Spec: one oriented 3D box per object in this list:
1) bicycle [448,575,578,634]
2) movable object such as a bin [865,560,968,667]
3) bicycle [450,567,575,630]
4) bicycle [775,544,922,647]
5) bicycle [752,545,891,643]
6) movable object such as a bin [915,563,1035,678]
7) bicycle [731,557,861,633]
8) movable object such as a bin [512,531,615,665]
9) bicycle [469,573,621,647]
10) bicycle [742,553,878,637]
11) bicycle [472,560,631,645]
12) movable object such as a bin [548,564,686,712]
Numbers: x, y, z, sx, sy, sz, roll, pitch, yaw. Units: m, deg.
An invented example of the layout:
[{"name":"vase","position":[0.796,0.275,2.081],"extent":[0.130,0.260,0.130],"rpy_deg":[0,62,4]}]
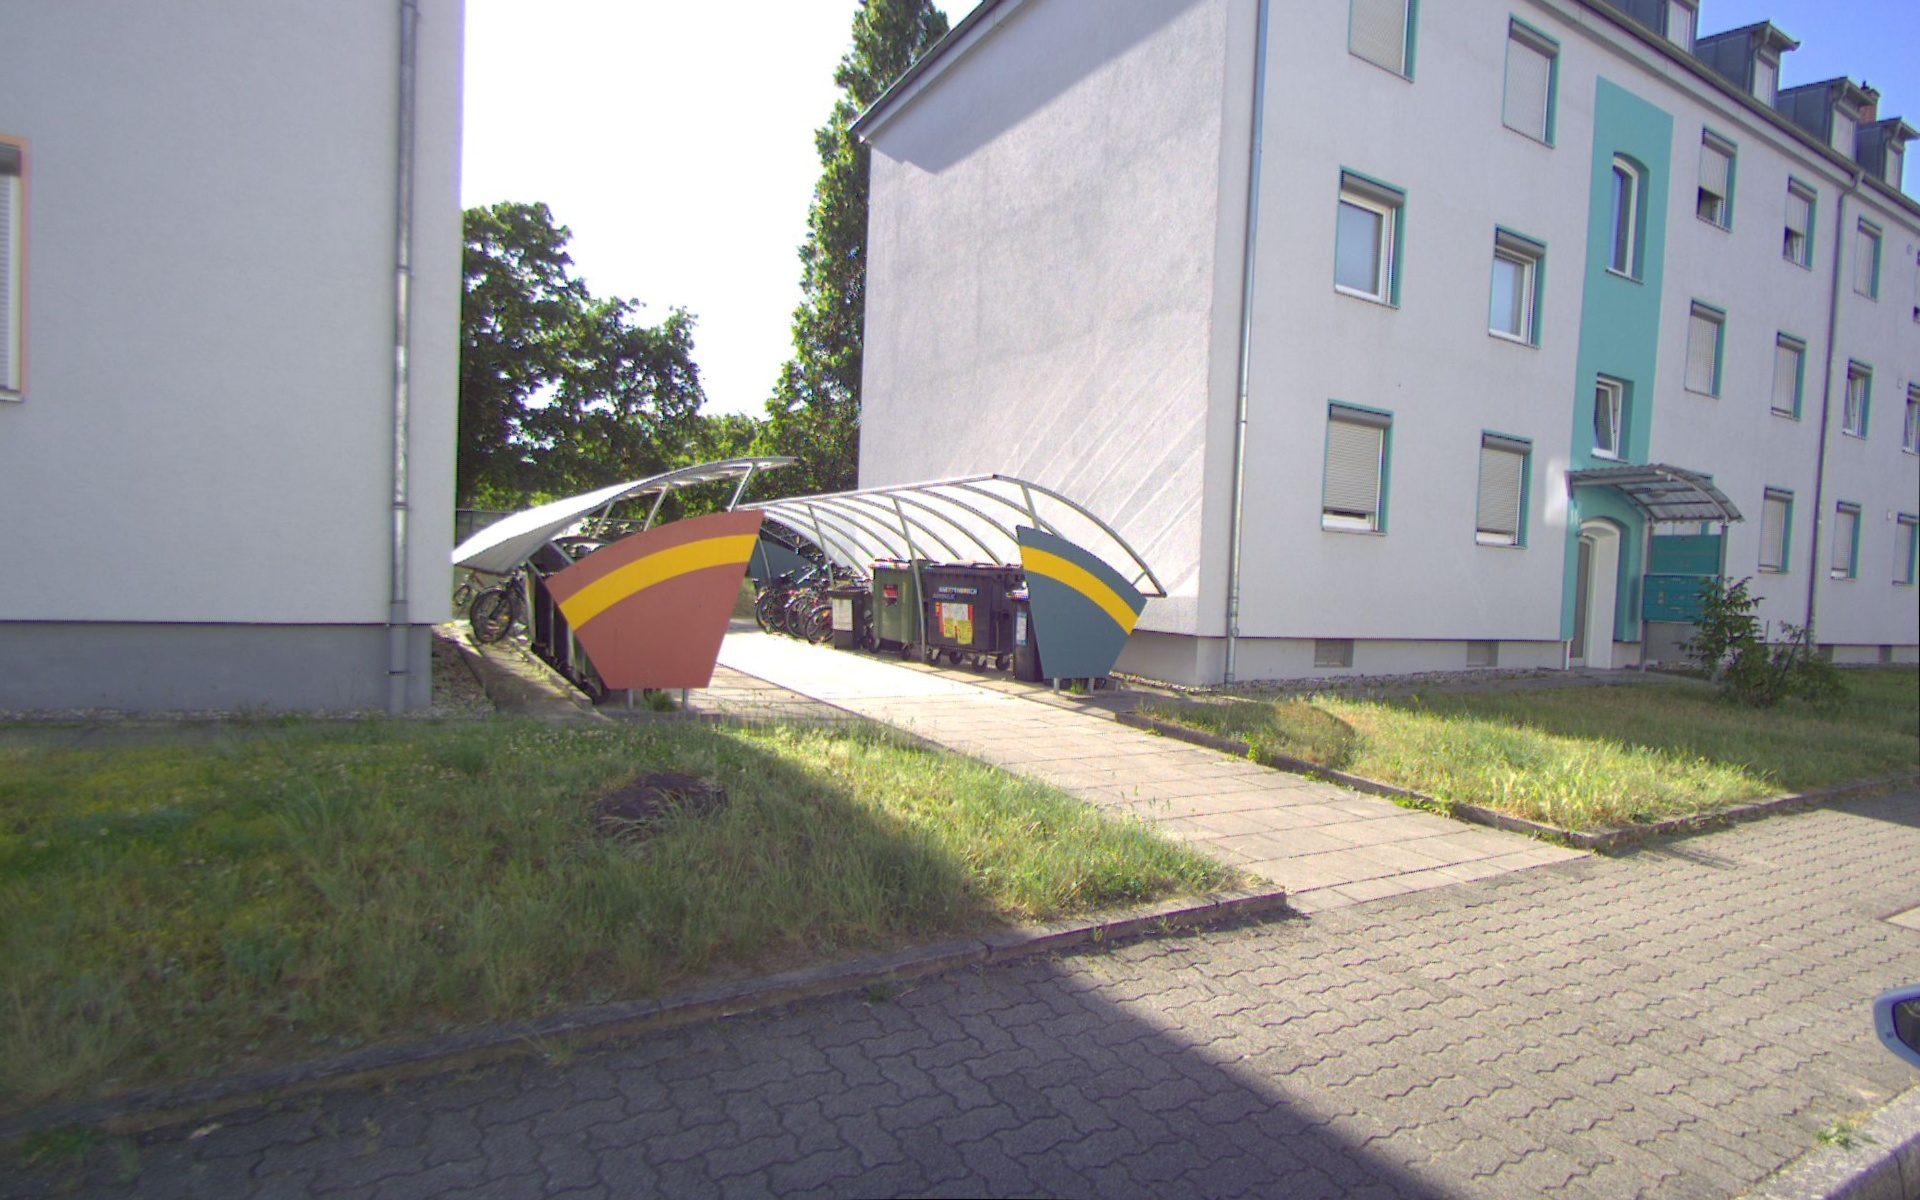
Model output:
[{"name":"bicycle","position":[-6.610,0.072,14.885],"extent":[1.712,0.808,0.505],"rpy_deg":[1,3,-30]},{"name":"movable object such as a bin","position":[-0.614,0.157,13.900],"extent":[0.797,1.366,1.243],"rpy_deg":[0,3,-40]},{"name":"bicycle","position":[-6.899,-0.018,15.524],"extent":[1.712,0.921,0.505],"rpy_deg":[1,3,-30]},{"name":"bicycle","position":[-1.743,-0.060,15.870],"extent":[2.172,1.530,0.699],"rpy_deg":[1,3,-30]},{"name":"bicycle","position":[-2.280,-0.095,16.671],"extent":[2.172,1.546,0.660],"rpy_deg":[1,2,-30]},{"name":"movable object such as a bin","position":[0.182,0.239,12.901],"extent":[0.899,1.374,1.238],"rpy_deg":[1,2,-41]},{"name":"bicycle","position":[-2.921,-0.081,18.004],"extent":[2.172,1.290,0.699],"rpy_deg":[1,3,-30]},{"name":"movable object such as a bin","position":[-4.596,-0.035,11.614],"extent":[0.936,1.461,1.054],"rpy_deg":[1,2,-31]},{"name":"bicycle","position":[-5.831,0.146,14.146],"extent":[1.907,0.961,0.547],"rpy_deg":[1,4,-30]},{"name":"bicycle","position":[-2.576,-0.073,17.344],"extent":[2.172,1.375,0.699],"rpy_deg":[1,3,-30]},{"name":"bicycle","position":[-5.503,0.043,13.573],"extent":[1.918,1.081,0.505],"rpy_deg":[1,3,-30]},{"name":"movable object such as a bin","position":[-3.073,0.296,8.924],"extent":[0.900,1.184,1.306],"rpy_deg":[1,2,-31]}]
